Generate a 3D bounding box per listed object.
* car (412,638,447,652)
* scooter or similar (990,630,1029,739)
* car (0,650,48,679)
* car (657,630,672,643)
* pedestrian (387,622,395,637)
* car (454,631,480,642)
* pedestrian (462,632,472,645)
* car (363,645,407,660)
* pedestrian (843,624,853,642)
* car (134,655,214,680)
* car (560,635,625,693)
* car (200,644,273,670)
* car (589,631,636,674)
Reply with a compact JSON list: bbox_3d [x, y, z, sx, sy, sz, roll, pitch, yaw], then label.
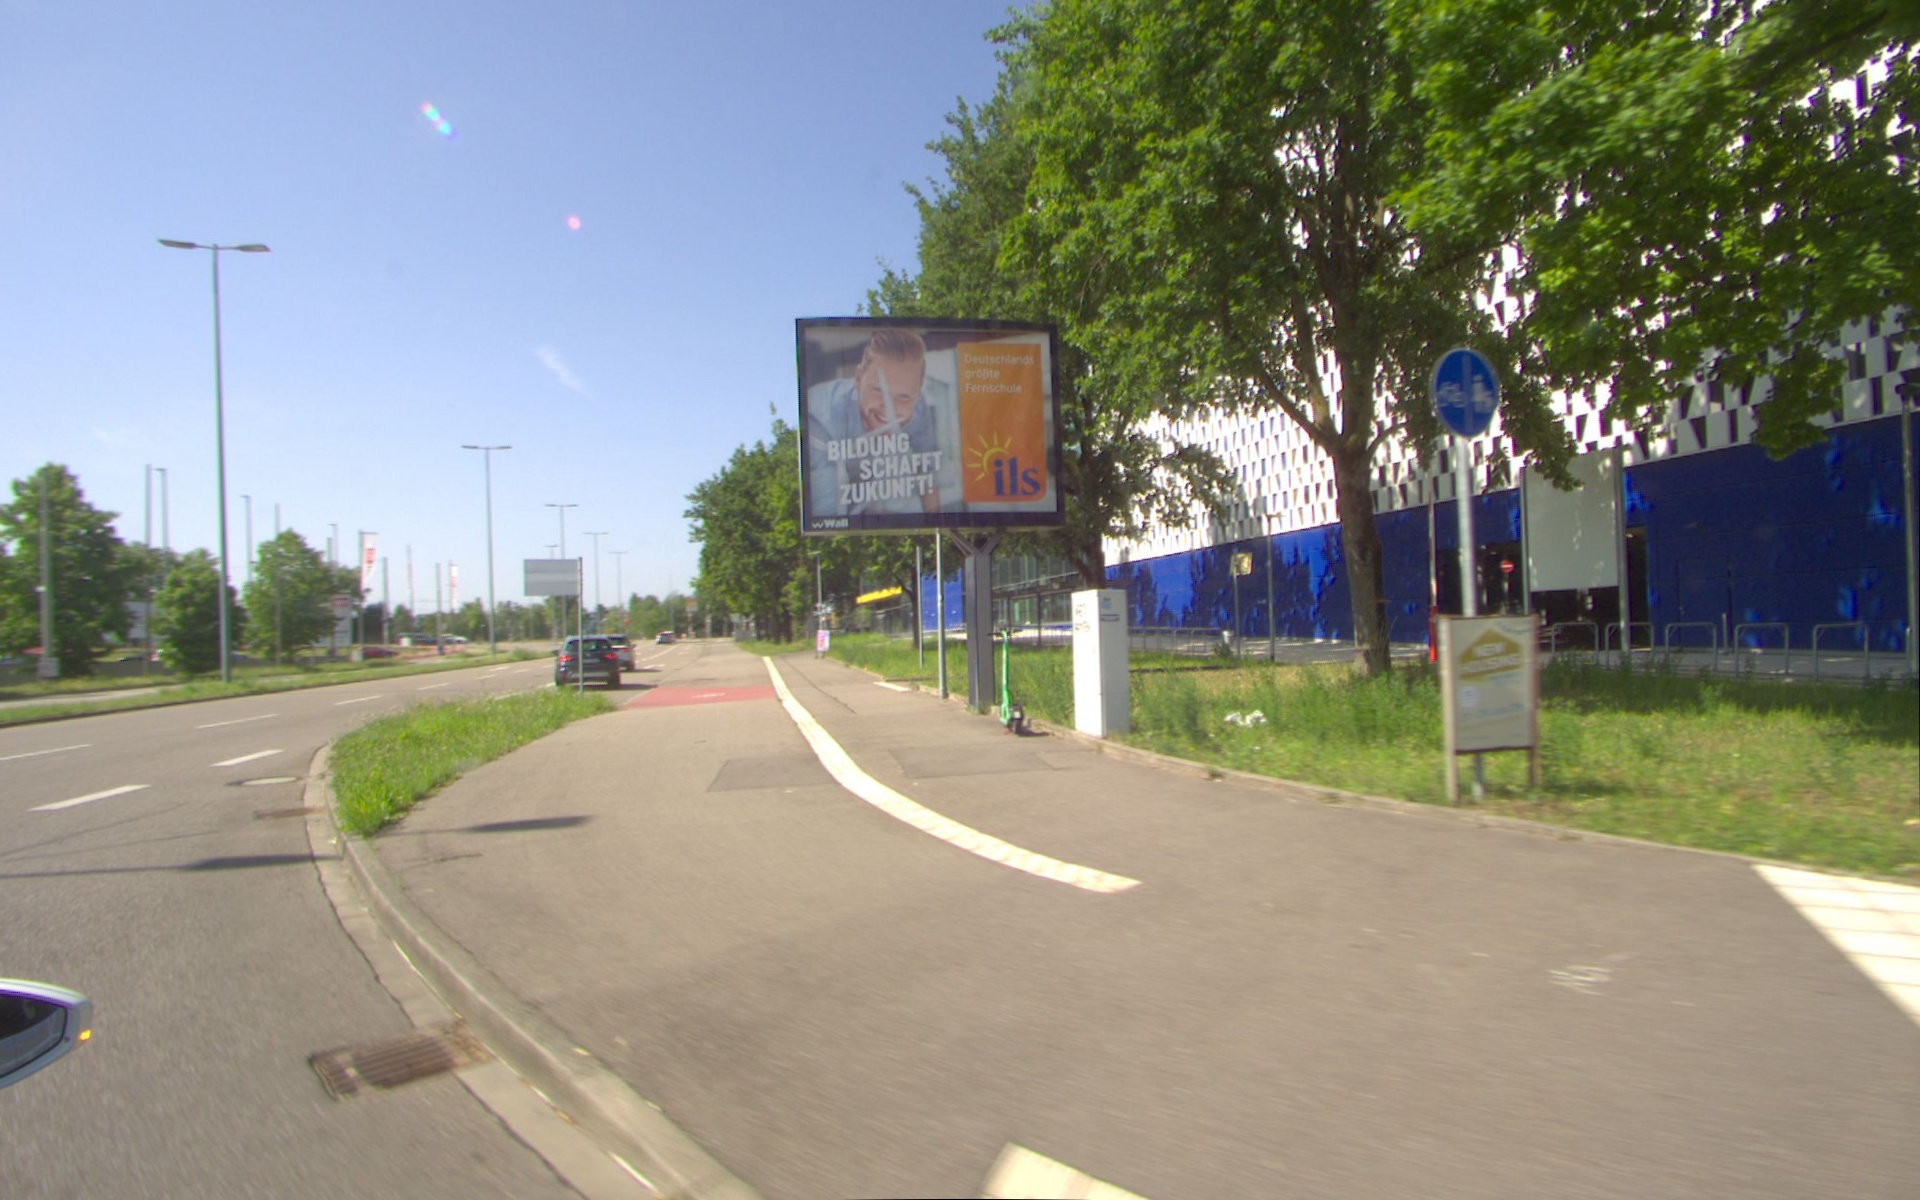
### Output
[{"bbox_3d":[-74.518,6.343,140.691,3.923,1.950,1.816,0,0,7],"label":"car"},{"bbox_3d":[0.568,0.948,11.478,0.395,1.181,1.185,-2,-2,3],"label":"scooter or similar"},{"bbox_3d":[-72.362,4.937,75.657,4.602,2.040,2.026,-2,0,-18],"label":"car"},{"bbox_3d":[-37.072,4.599,125.862,1.681,1.593,4.169,-2,-1,-16],"label":"car"},{"bbox_3d":[-76.376,3.971,134.415,0.705,1.996,0.918,-1,-2,-10],"label":"pedestrian"},{"bbox_3d":[-74.995,5.556,152.273,3.295,1.518,1.408,-1,-2,-18],"label":"car"},{"bbox_3d":[-66.950,5.256,136.000,0.826,1.729,0.905,-2,0,-2],"label":"pedestrian"},{"bbox_3d":[-67.577,6.215,117.691,4.124,1.625,1.824,-1,-2,-19],"label":"car"},{"bbox_3d":[-9.930,2.921,88.775,0.678,1.633,0.770,-2,0,-18],"label":"pedestrian"},{"bbox_3d":[-59.233,5.066,75.540,4.348,1.648,1.869,-1,-2,-17],"label":"car"},{"bbox_3d":[-10.787,1.819,29.311,1.648,1.543,3.367,0,-2,-22],"label":"car"},{"bbox_3d":[-58.827,4.626,81.517,4.347,1.866,1.944,-1,-2,-15],"label":"car"},{"bbox_3d":[-14.439,2.144,41.752,1.607,1.518,3.863,0,0,-15],"label":"car"}]
